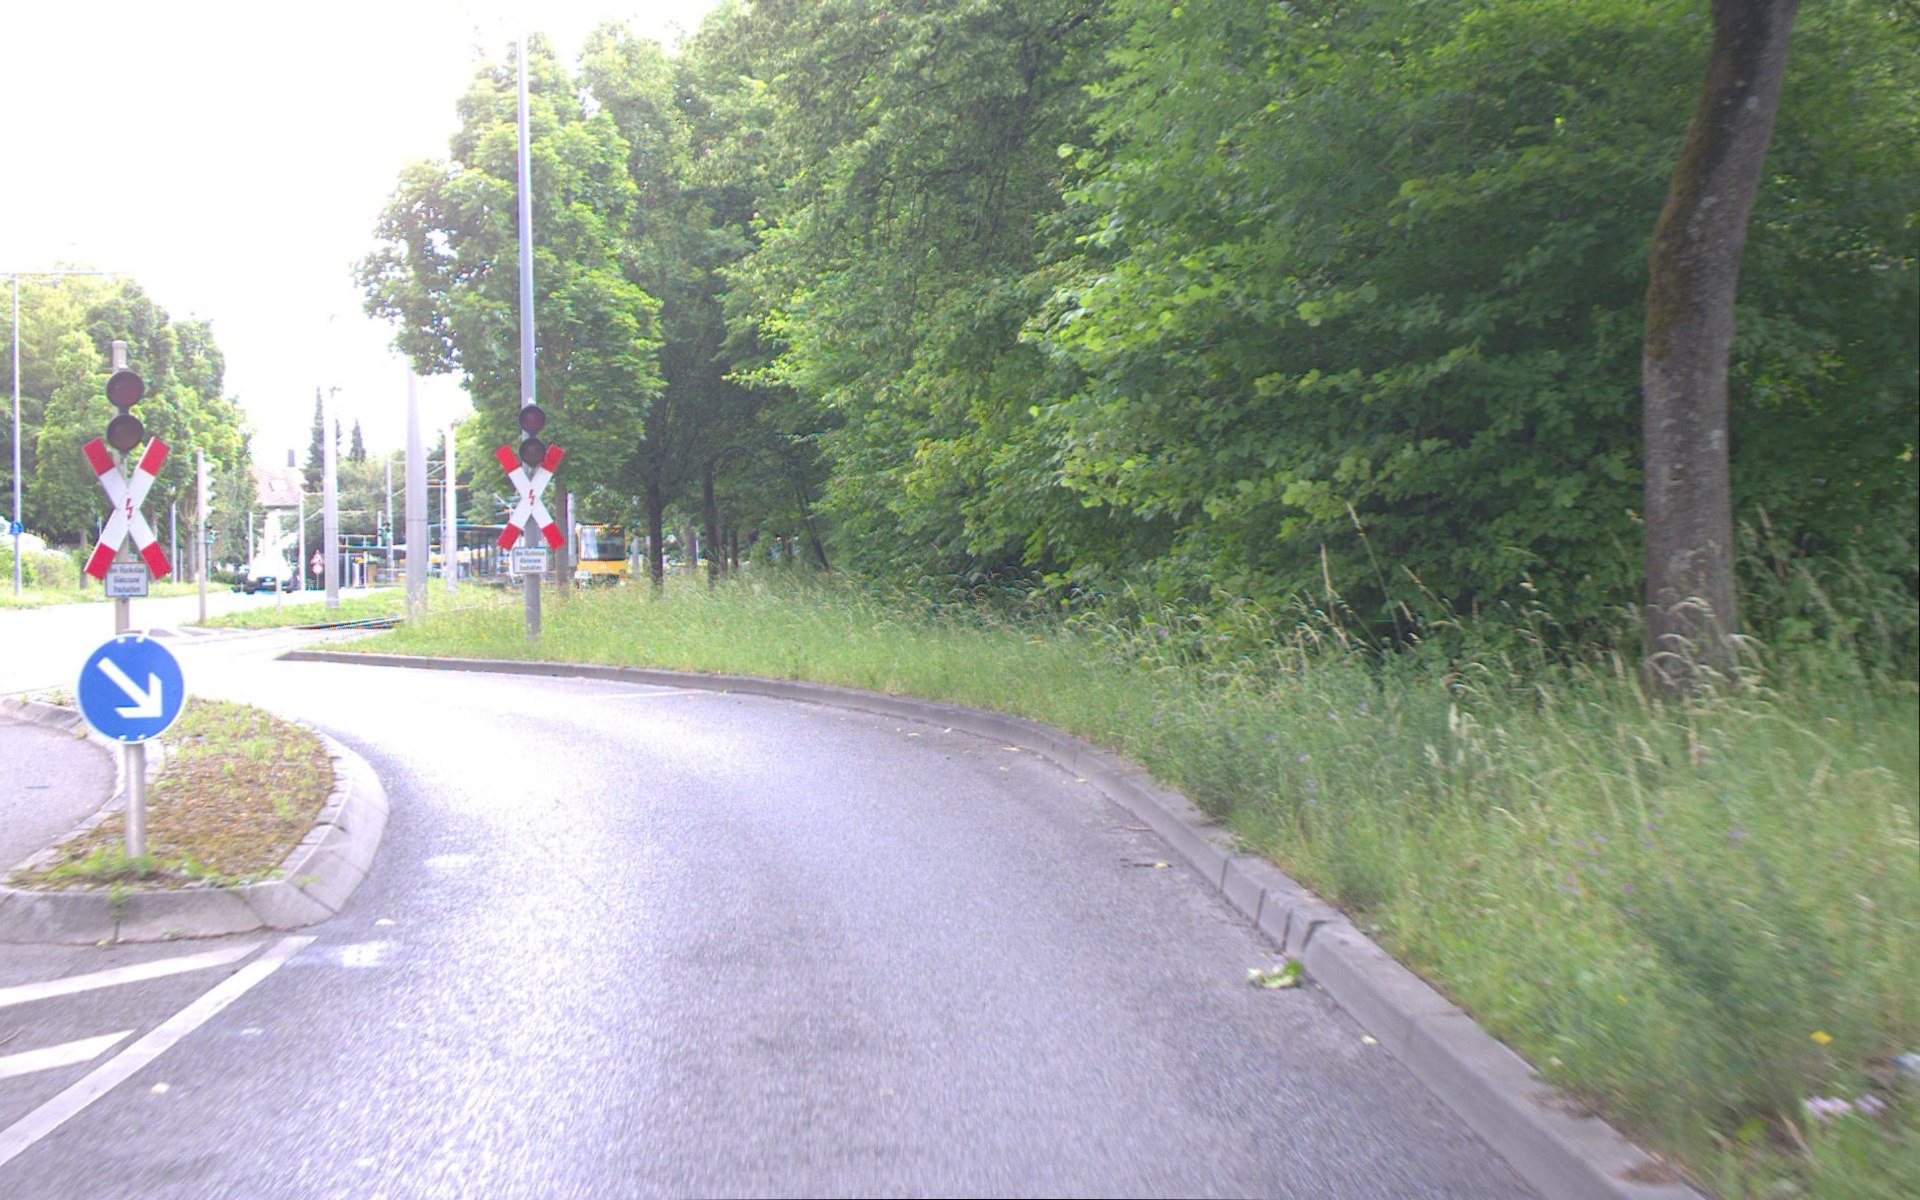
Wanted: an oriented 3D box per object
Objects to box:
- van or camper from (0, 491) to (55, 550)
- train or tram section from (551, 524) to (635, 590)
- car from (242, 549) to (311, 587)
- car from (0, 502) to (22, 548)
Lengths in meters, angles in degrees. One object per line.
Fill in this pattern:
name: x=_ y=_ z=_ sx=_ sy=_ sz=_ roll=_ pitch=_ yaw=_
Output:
van or camper: x=-36.695 y=-2.986 z=128.464 sx=5.332 sy=2.195 sz=2.000 roll=0 pitch=1 yaw=-6
train or tram section: x=-20.456 y=-2.389 z=189.837 sx=3.007 sy=3.299 sz=34.719 roll=0 pitch=1 yaw=-9
car: x=-27.729 y=-1.319 z=139.571 sx=1.993 sy=1.433 sz=4.426 roll=-2 pitch=1 yaw=-2
car: x=-36.931 y=-2.729 z=125.814 sx=4.642 sy=1.650 sz=2.000 roll=0 pitch=1 yaw=2
